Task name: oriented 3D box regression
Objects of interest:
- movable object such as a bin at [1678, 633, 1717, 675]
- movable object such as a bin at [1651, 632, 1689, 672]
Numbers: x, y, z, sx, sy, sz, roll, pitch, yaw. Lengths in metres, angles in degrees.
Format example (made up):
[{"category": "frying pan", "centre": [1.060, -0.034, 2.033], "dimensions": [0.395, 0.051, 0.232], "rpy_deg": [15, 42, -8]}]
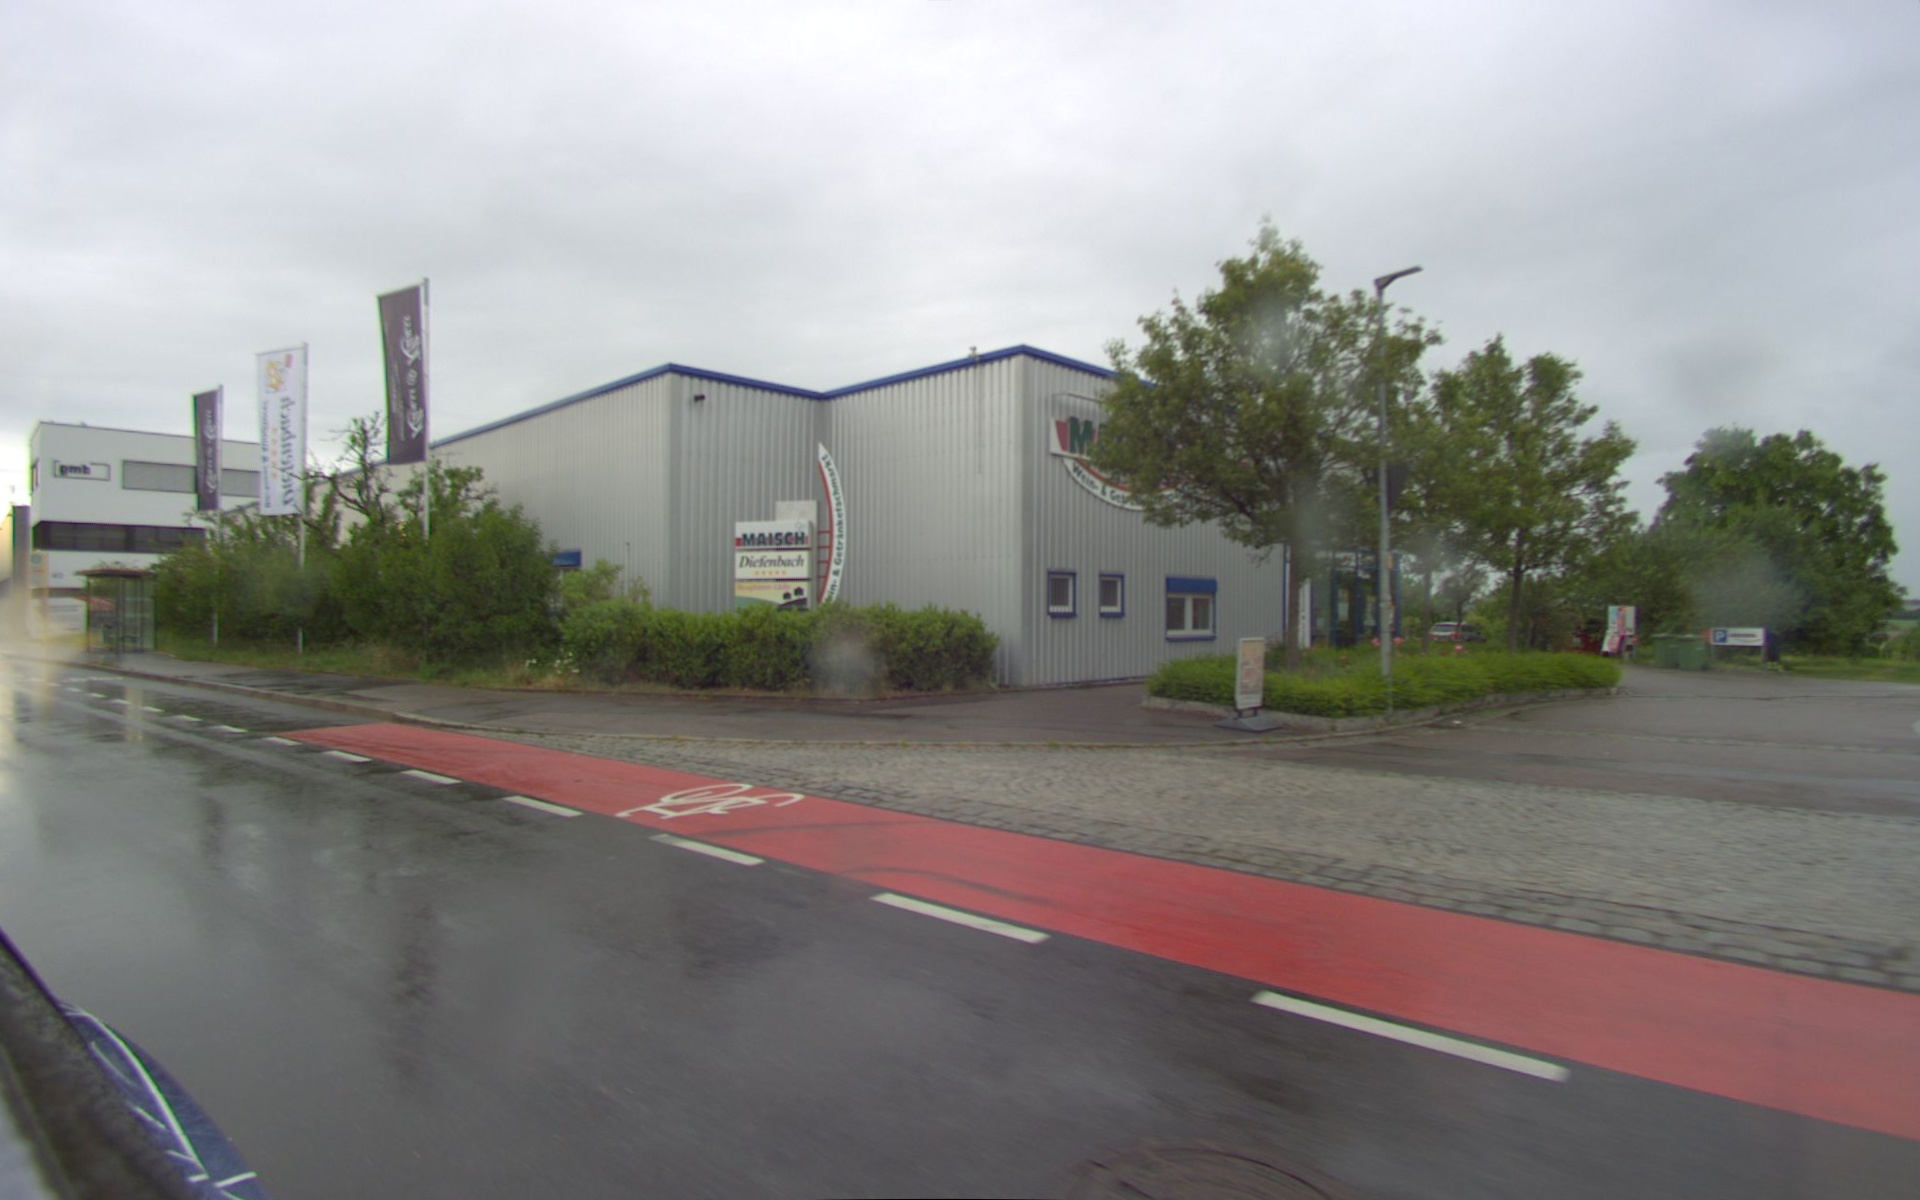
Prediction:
[{"category": "movable object such as a bin", "centre": [22.112, 1.613, 30.357], "dimensions": [0.621, 1.226, 0.665], "rpy_deg": [-1, -1, 1]}, {"category": "movable object such as a bin", "centre": [22.147, 1.617, 31.570], "dimensions": [0.621, 1.226, 0.763], "rpy_deg": [-1, -1, 1]}]
